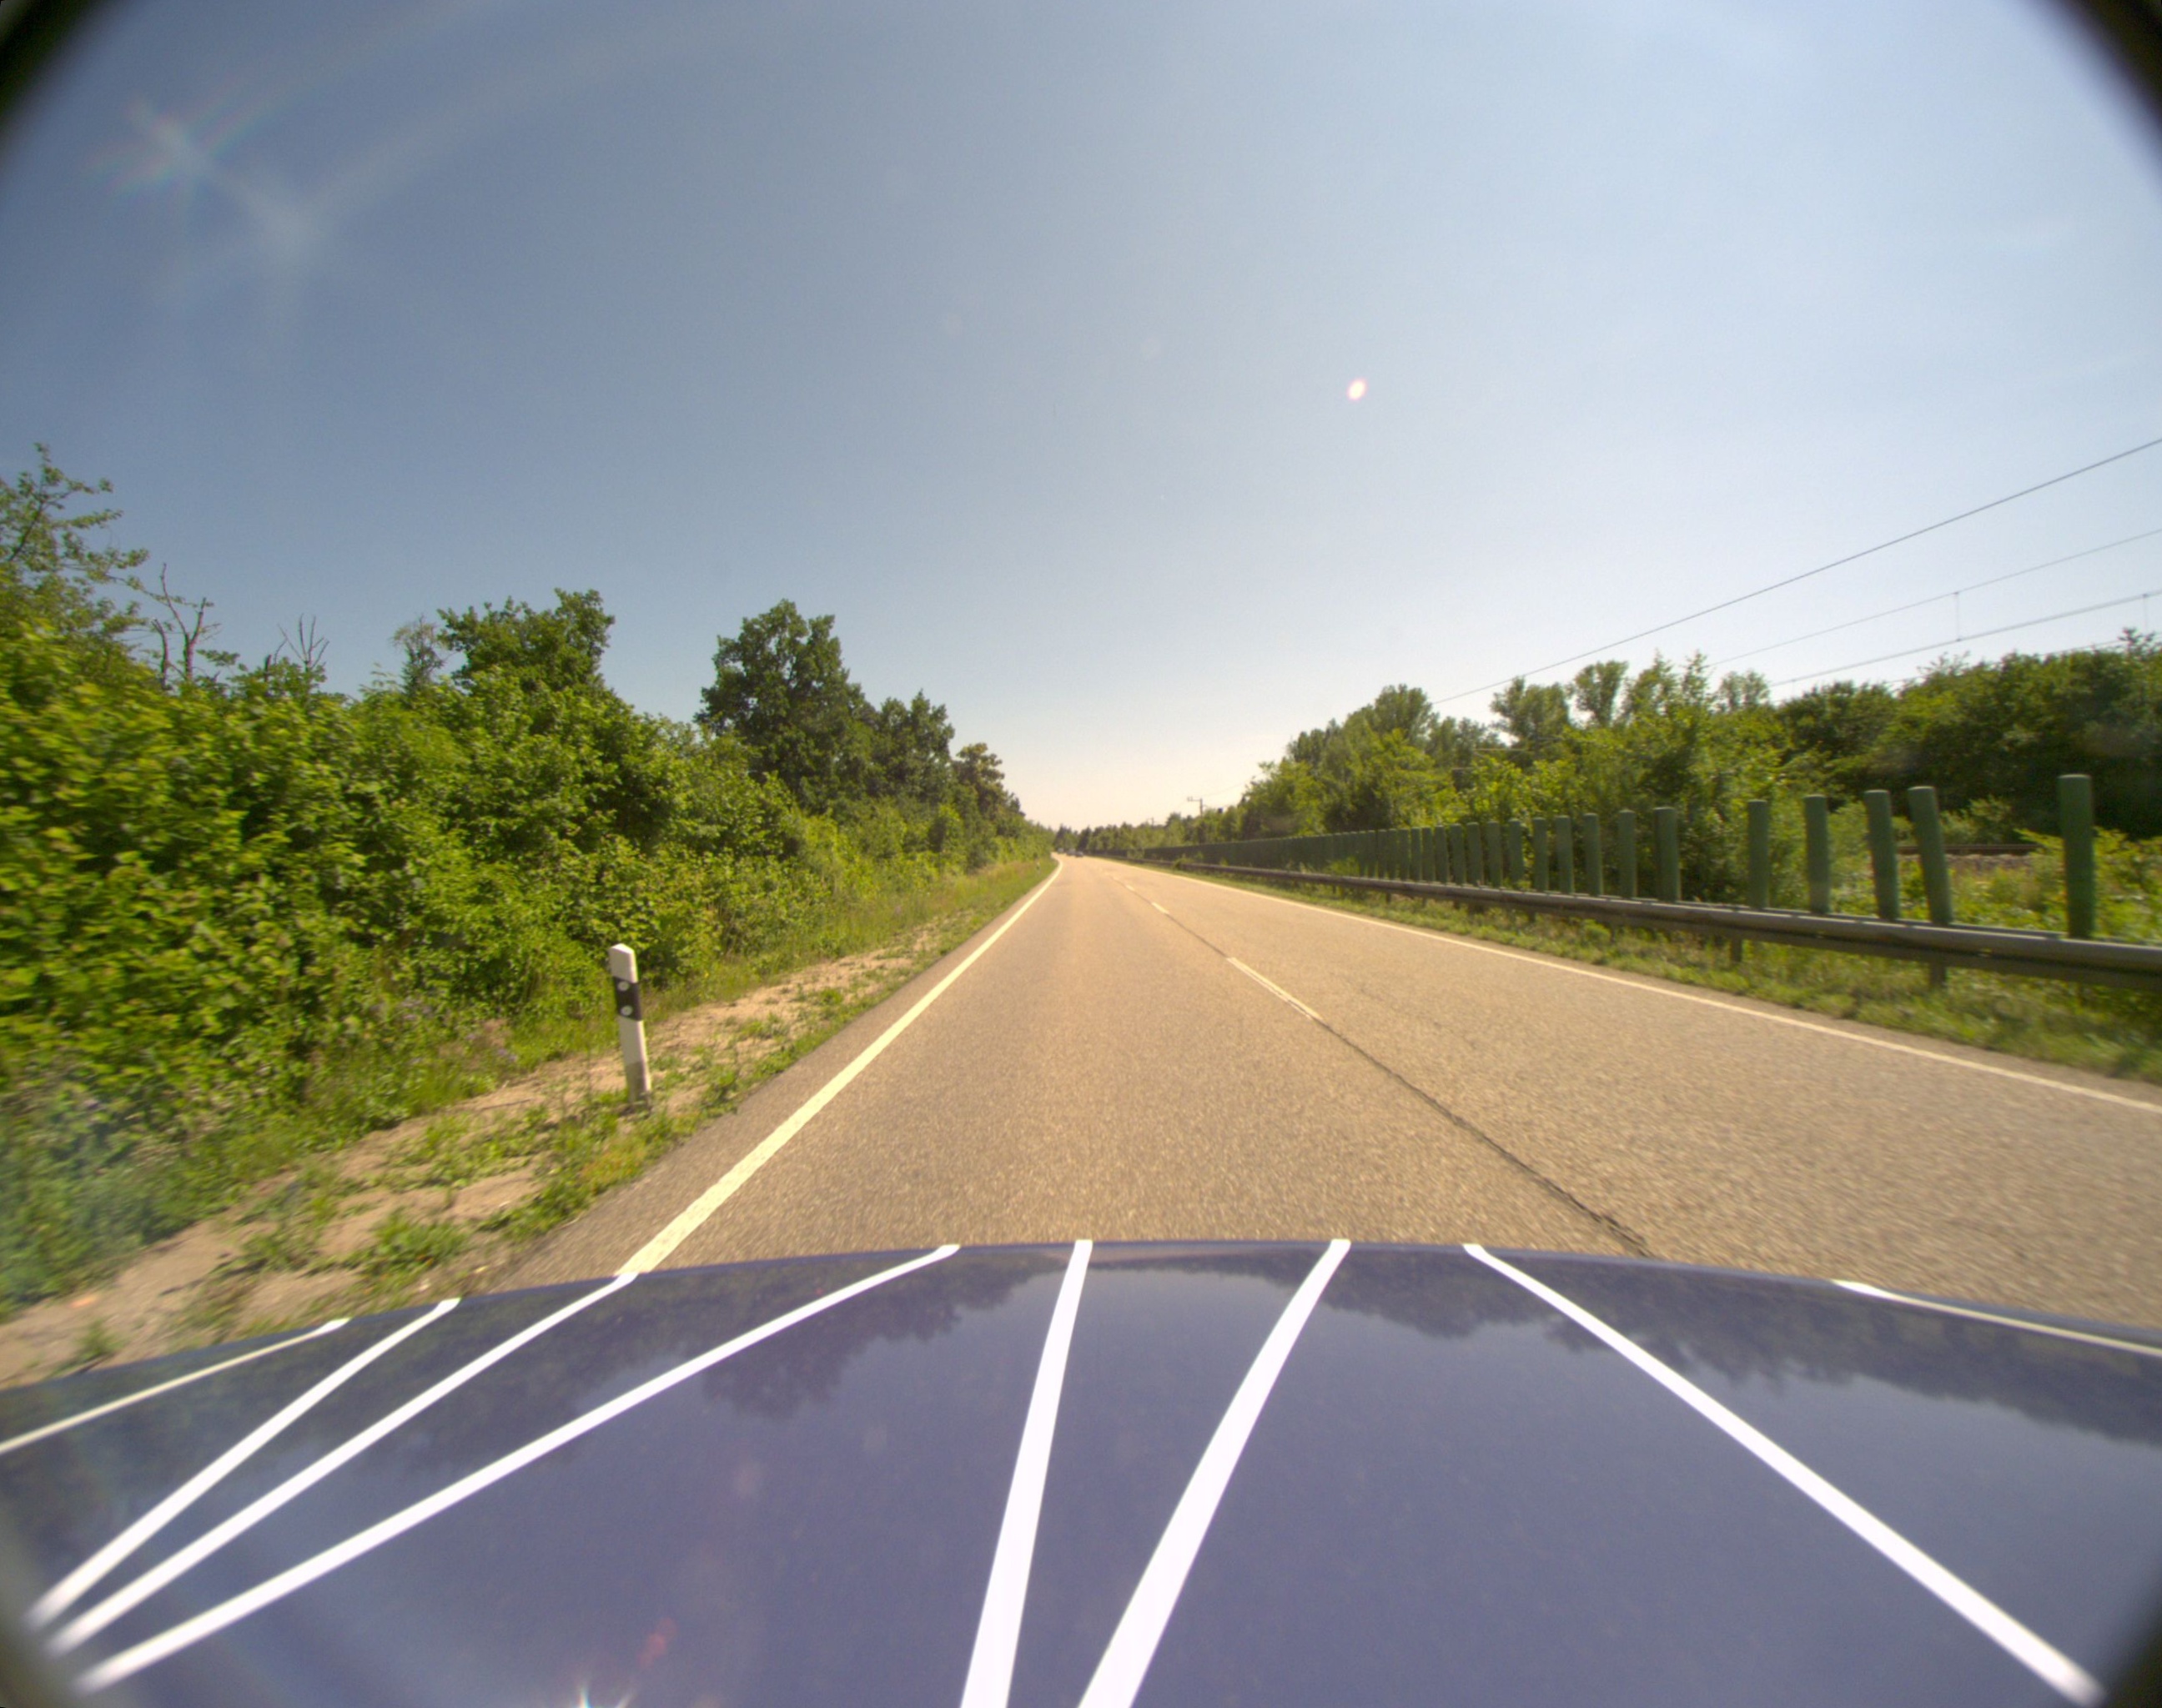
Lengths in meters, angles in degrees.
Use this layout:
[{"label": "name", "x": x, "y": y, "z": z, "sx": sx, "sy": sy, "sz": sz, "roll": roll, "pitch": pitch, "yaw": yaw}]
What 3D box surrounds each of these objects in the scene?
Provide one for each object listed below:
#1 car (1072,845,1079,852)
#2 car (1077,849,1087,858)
[{"label": "car", "x": -1.541, "y": -1.598, "z": 215.886, "sx": 1.762, "sy": 1.874, "sz": 4.531, "roll": -2, "pitch": 1, "yaw": -5}, {"label": "car", "x": 0.229, "y": -0.120, "z": 184.442, "sx": 1.762, "sy": 1.874, "sz": 4.531, "roll": -2, "pitch": 1, "yaw": -6}]
